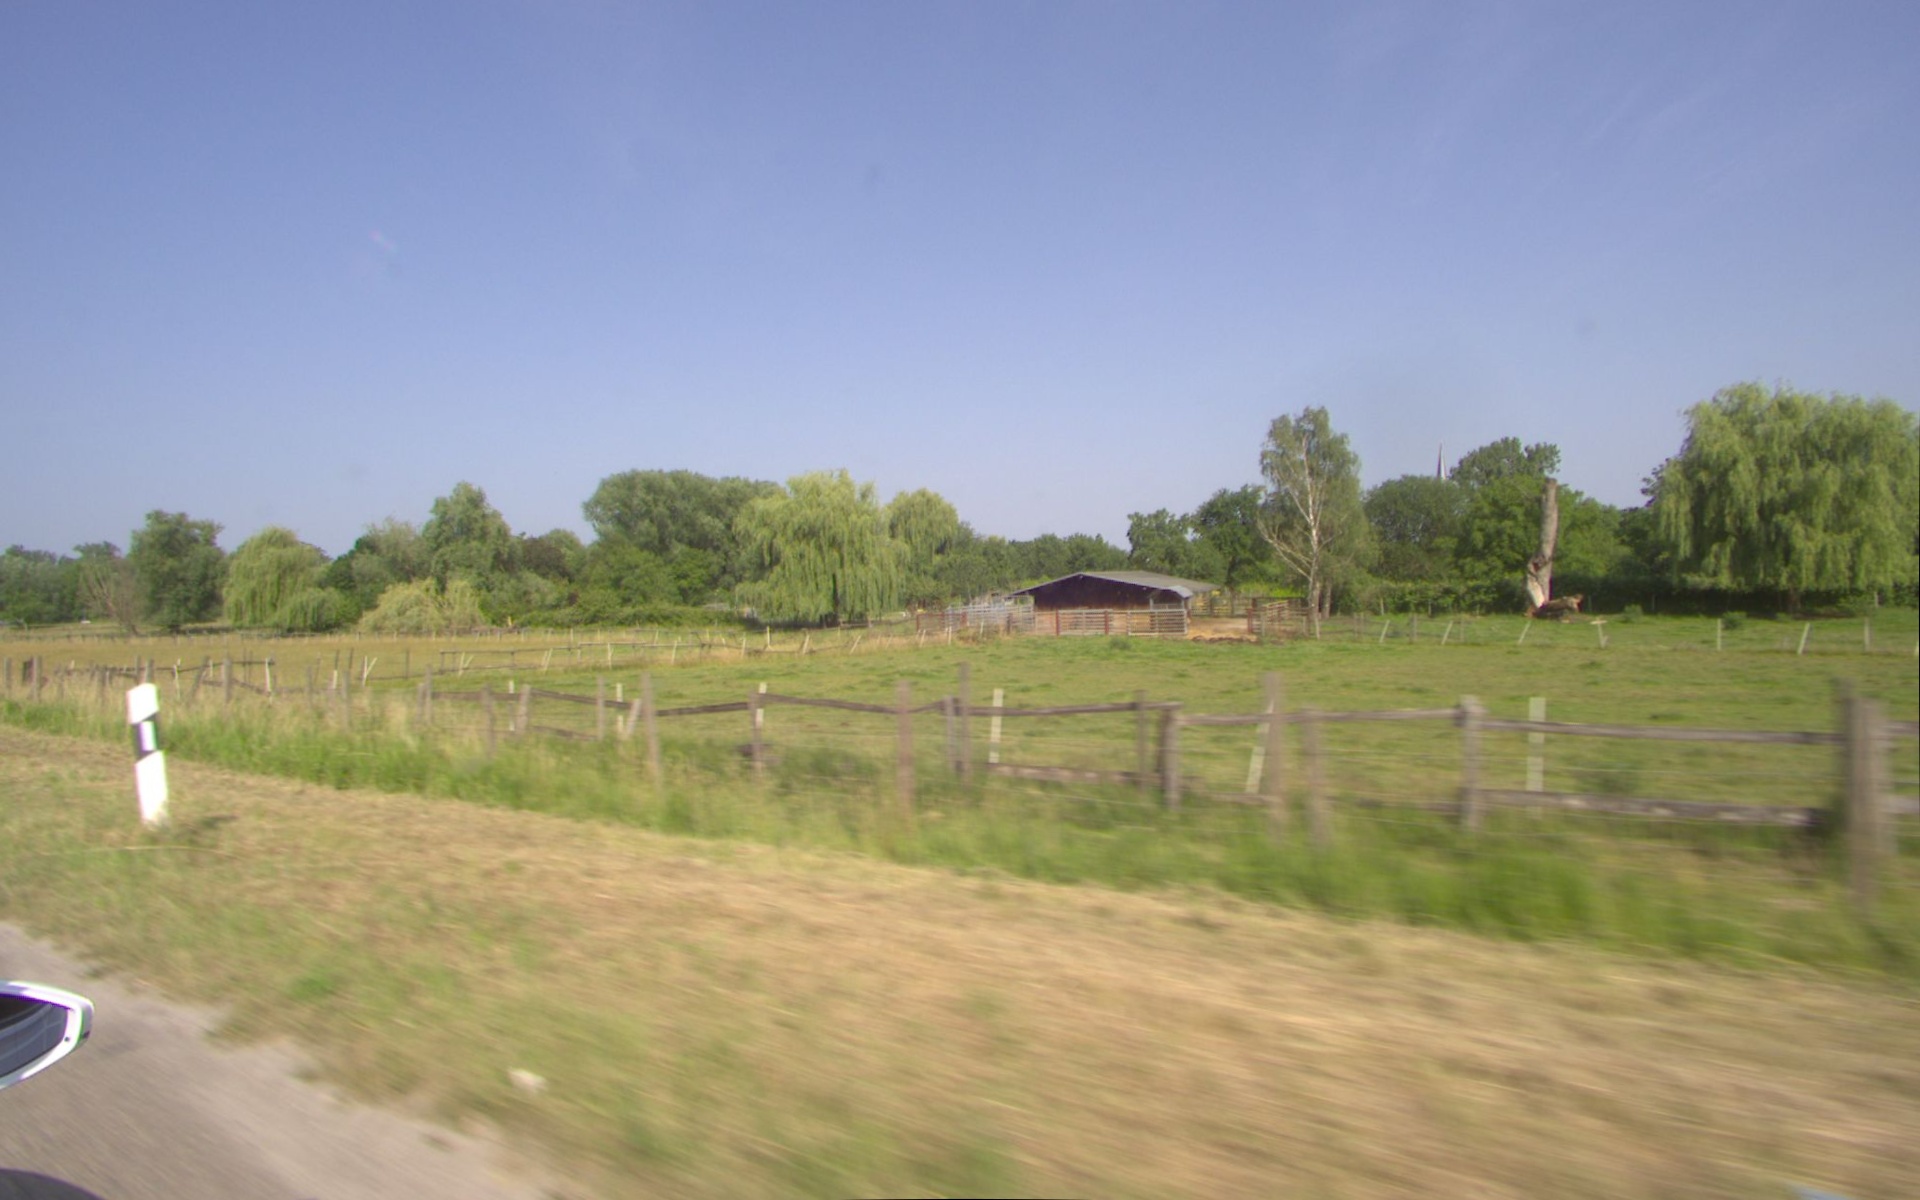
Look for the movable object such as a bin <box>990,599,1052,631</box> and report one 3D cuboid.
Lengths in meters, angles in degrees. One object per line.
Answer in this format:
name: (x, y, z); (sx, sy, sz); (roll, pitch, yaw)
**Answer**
movable object such as a bin: (4.474, 1.115, 73.199); (4.108, 2.221, 1.988); (-1, -2, 35)
